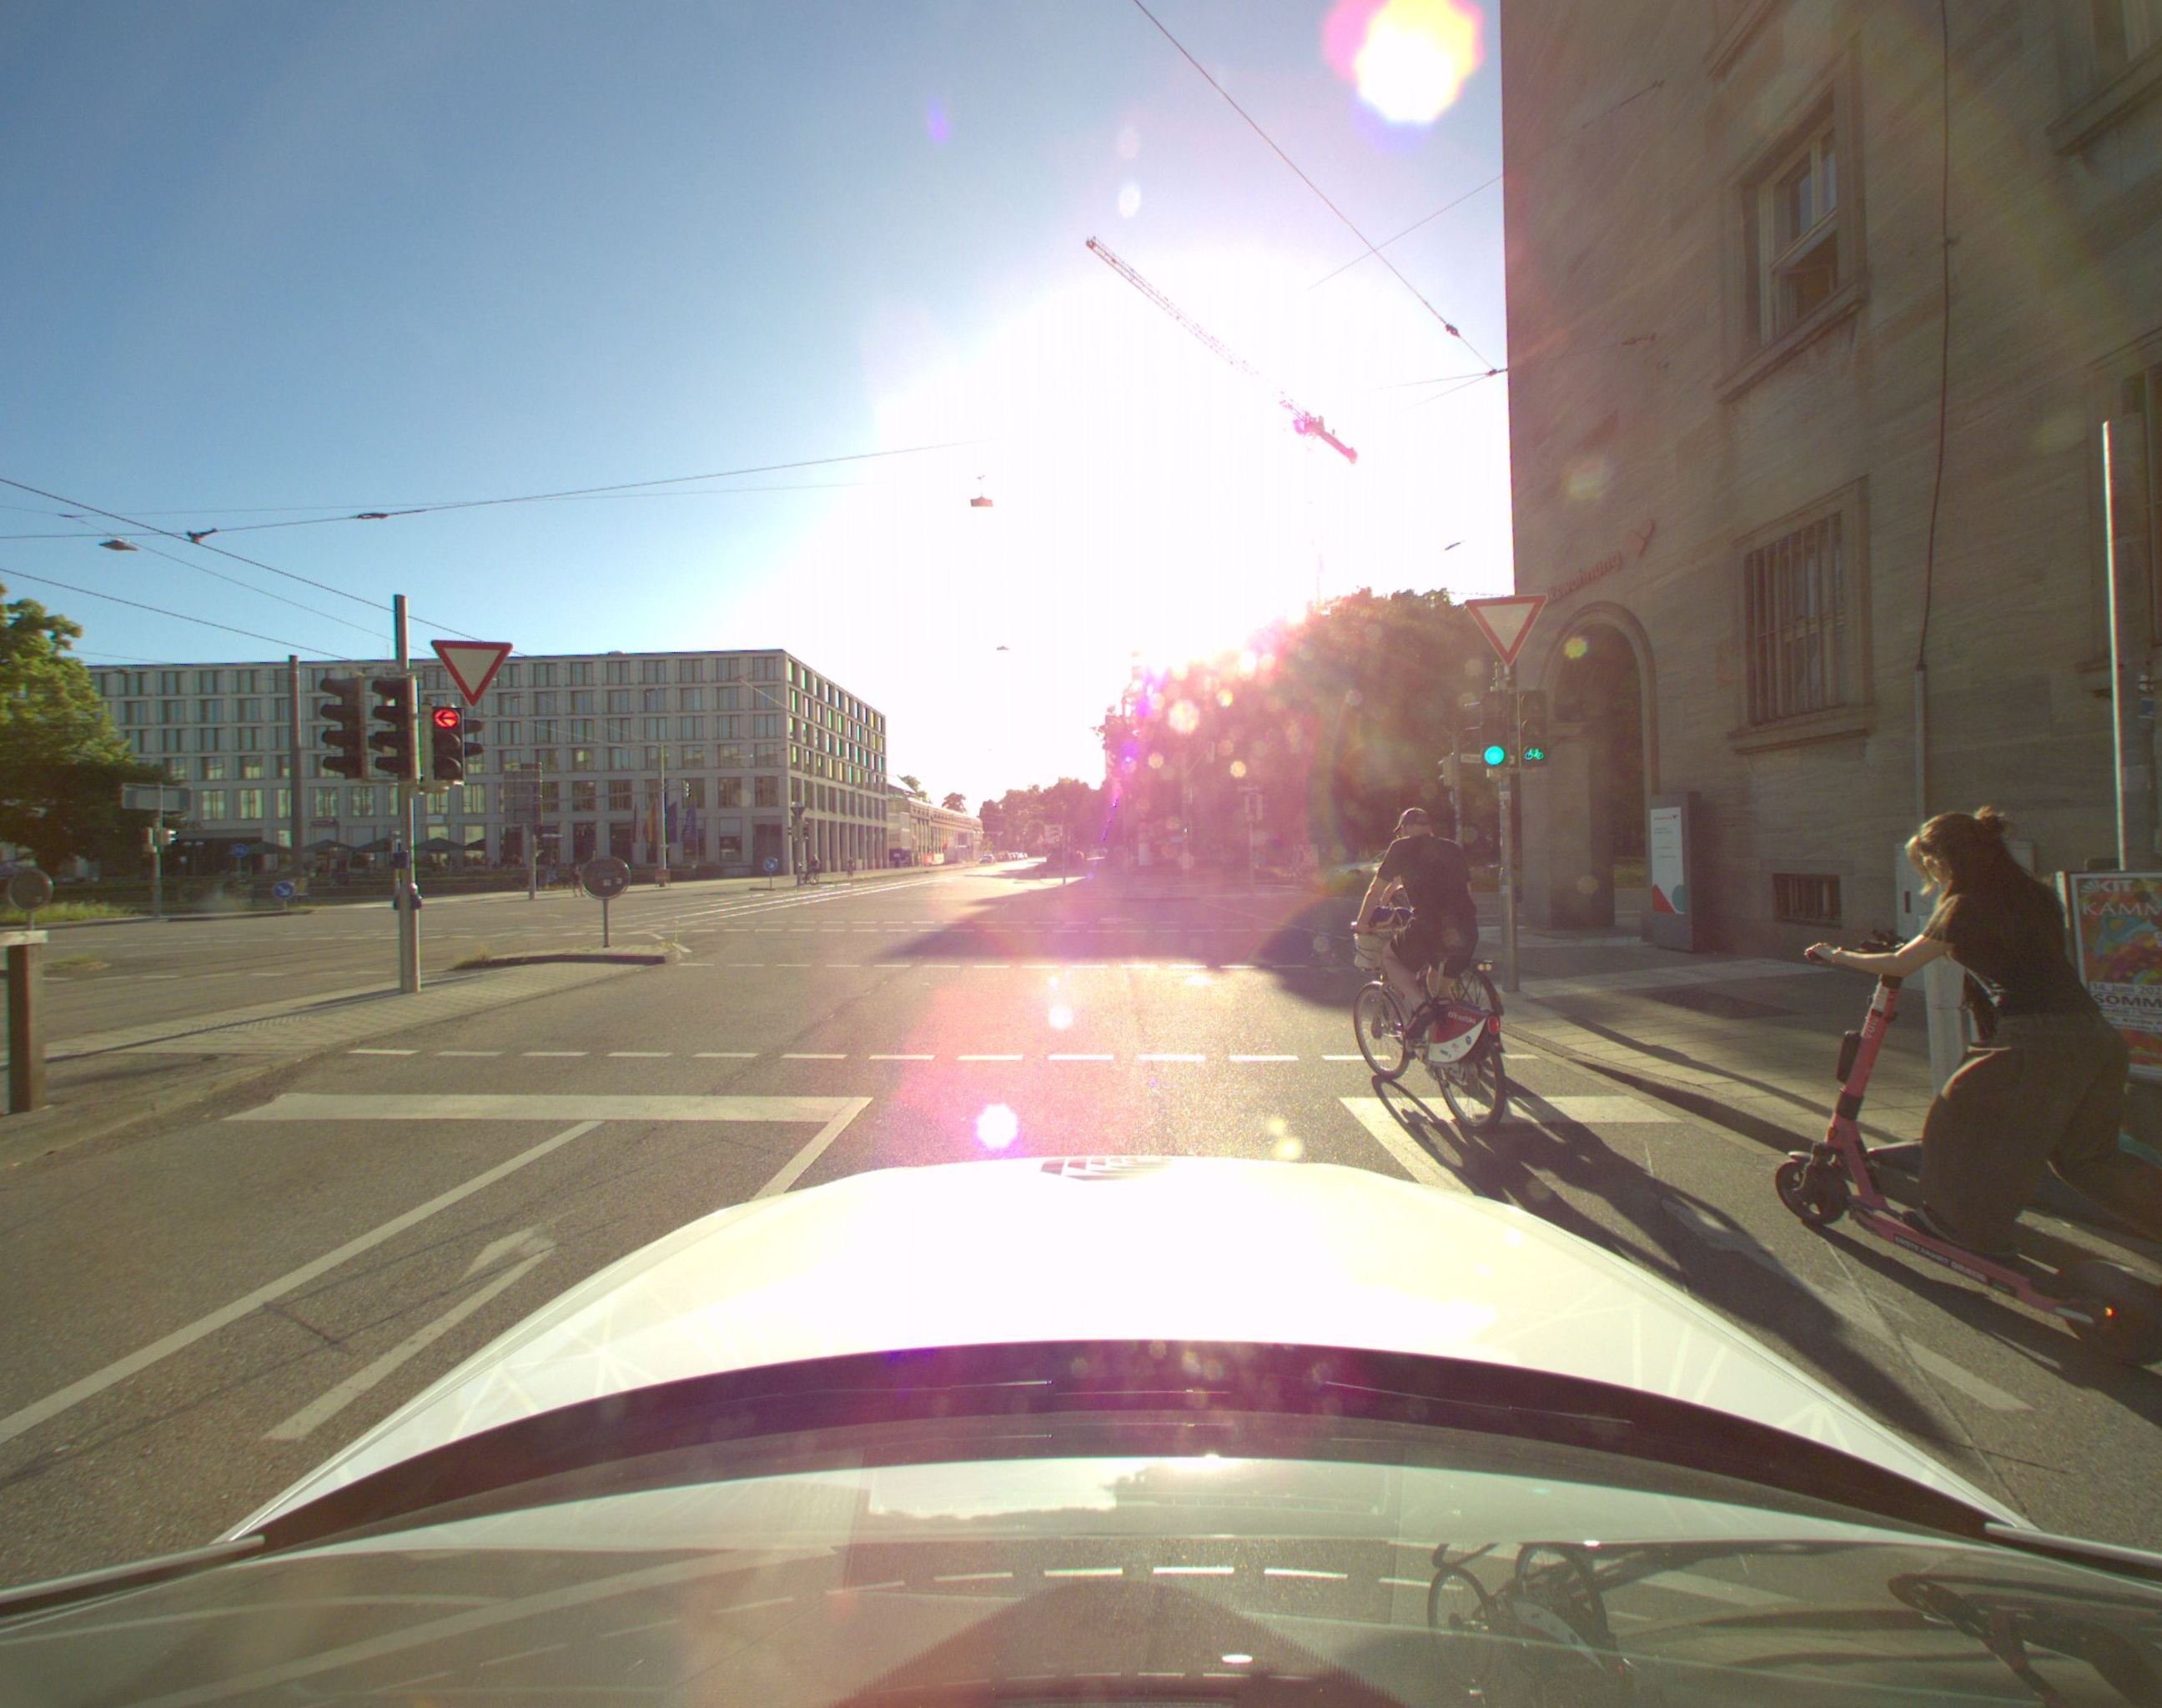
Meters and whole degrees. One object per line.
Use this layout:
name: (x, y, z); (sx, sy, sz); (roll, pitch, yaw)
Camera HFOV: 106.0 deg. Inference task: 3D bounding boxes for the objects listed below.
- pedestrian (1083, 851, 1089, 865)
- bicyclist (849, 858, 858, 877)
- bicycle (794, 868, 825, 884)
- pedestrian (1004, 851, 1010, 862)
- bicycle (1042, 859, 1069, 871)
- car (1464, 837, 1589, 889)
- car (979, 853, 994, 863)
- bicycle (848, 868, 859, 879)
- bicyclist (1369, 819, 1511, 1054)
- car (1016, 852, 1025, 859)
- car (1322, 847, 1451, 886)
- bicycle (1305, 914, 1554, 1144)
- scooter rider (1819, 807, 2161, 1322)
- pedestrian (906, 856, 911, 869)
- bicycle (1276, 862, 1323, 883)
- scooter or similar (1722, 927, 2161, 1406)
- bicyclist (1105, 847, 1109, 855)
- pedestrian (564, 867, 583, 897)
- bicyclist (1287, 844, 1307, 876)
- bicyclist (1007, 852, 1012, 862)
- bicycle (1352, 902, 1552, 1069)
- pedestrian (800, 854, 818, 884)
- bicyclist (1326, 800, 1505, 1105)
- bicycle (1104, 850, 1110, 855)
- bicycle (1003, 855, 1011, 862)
pedestrian: (0.580, 0.487, 97.728); (0.576, 1.689, 0.584); (-2, 0, -6)
bicyclist: (-18.509, 1.112, 66.207); (0.492, 1.498, 0.667); (-2, 0, 4)
bicycle: (-14.877, 1.199, 44.622); (1.696, 0.823, 0.577); (-2, 0, 29)
pedestrian: (-13.141, 0.461, 144.785); (0.746, 2.063, 1.052); (0, -1, 7)
bicycle: (-2.115, 0.891, 67.423); (2.240, 0.940, 0.653); (-2, 0, -4)
car: (17.886, 0.355, 32.853); (3.970, 2.014, 2.002); (0, -1, 3)
car: (-15.795, 0.682, 136.368); (1.988, 1.599, 3.998); (-2, 0, -1)
bicycle: (-18.493, 1.563, 66.227); (0.492, 0.839, 1.158); (-2, 0, 4)
bicyclist: (2.863, 0.612, 6.581); (0.584, 1.738, 0.947); (-2, 0, -10)
car: (-14.439, 0.295, 195.324); (1.988, 1.644, 3.998); (-2, 0, -1)
car: (12.439, 0.509, 33.411); (4.559, 1.516, 2.001); (0, -1, 1)
bicycle: (2.068, 0.974, 5.130); (0.623, 1.044, 1.742); (-2, 0, -8)
scooter rider: (3.096, 0.643, 2.805); (0.544, 1.562, 0.576); (-1, -1, -5)
pedestrian: (-25.582, 1.280, 120.854); (0.585, 1.889, 0.478); (0, -1, 1)
bicycle: (9.716, 0.835, 36.281); (1.932, 0.889, 0.719); (-1, -1, 8)
scooter or similar: (3.054, 0.892, 2.833); (0.572, 1.149, 1.270); (-1, 0, -4)
bicyclist: (6.476, -0.794, 200.558); (0.891, 2.014, 0.746); (0, -1, -10)
pedestrian: (-28.280, 1.558, 45.369); (0.598, 1.681, 0.609); (-2, 0, 22)
bicyclist: (9.623, 0.272, 36.293); (0.742, 1.406, 0.704); (-1, -1, 8)
bicyclist: (-13.173, 0.543, 150.512); (0.748, 1.920, 1.214); (0, -1, 1)
bicycle: (2.886, 0.967, 6.557); (0.582, 1.044, 1.741); (-2, 0, -9)
pedestrian: (-14.901, 0.809, 44.628); (0.735, 1.595, 0.577); (-2, 0, 29)
bicyclist: (2.056, 0.554, 5.110); (0.623, 1.715, 0.910); (-2, 0, -8)
bicycle: (6.466, -0.369, 200.569); (0.890, 1.219, 2.784); (0, -1, -9)
bicycle: (-13.148, 0.870, 144.768); (0.746, 1.205, 3.114); (0, -1, 7)
